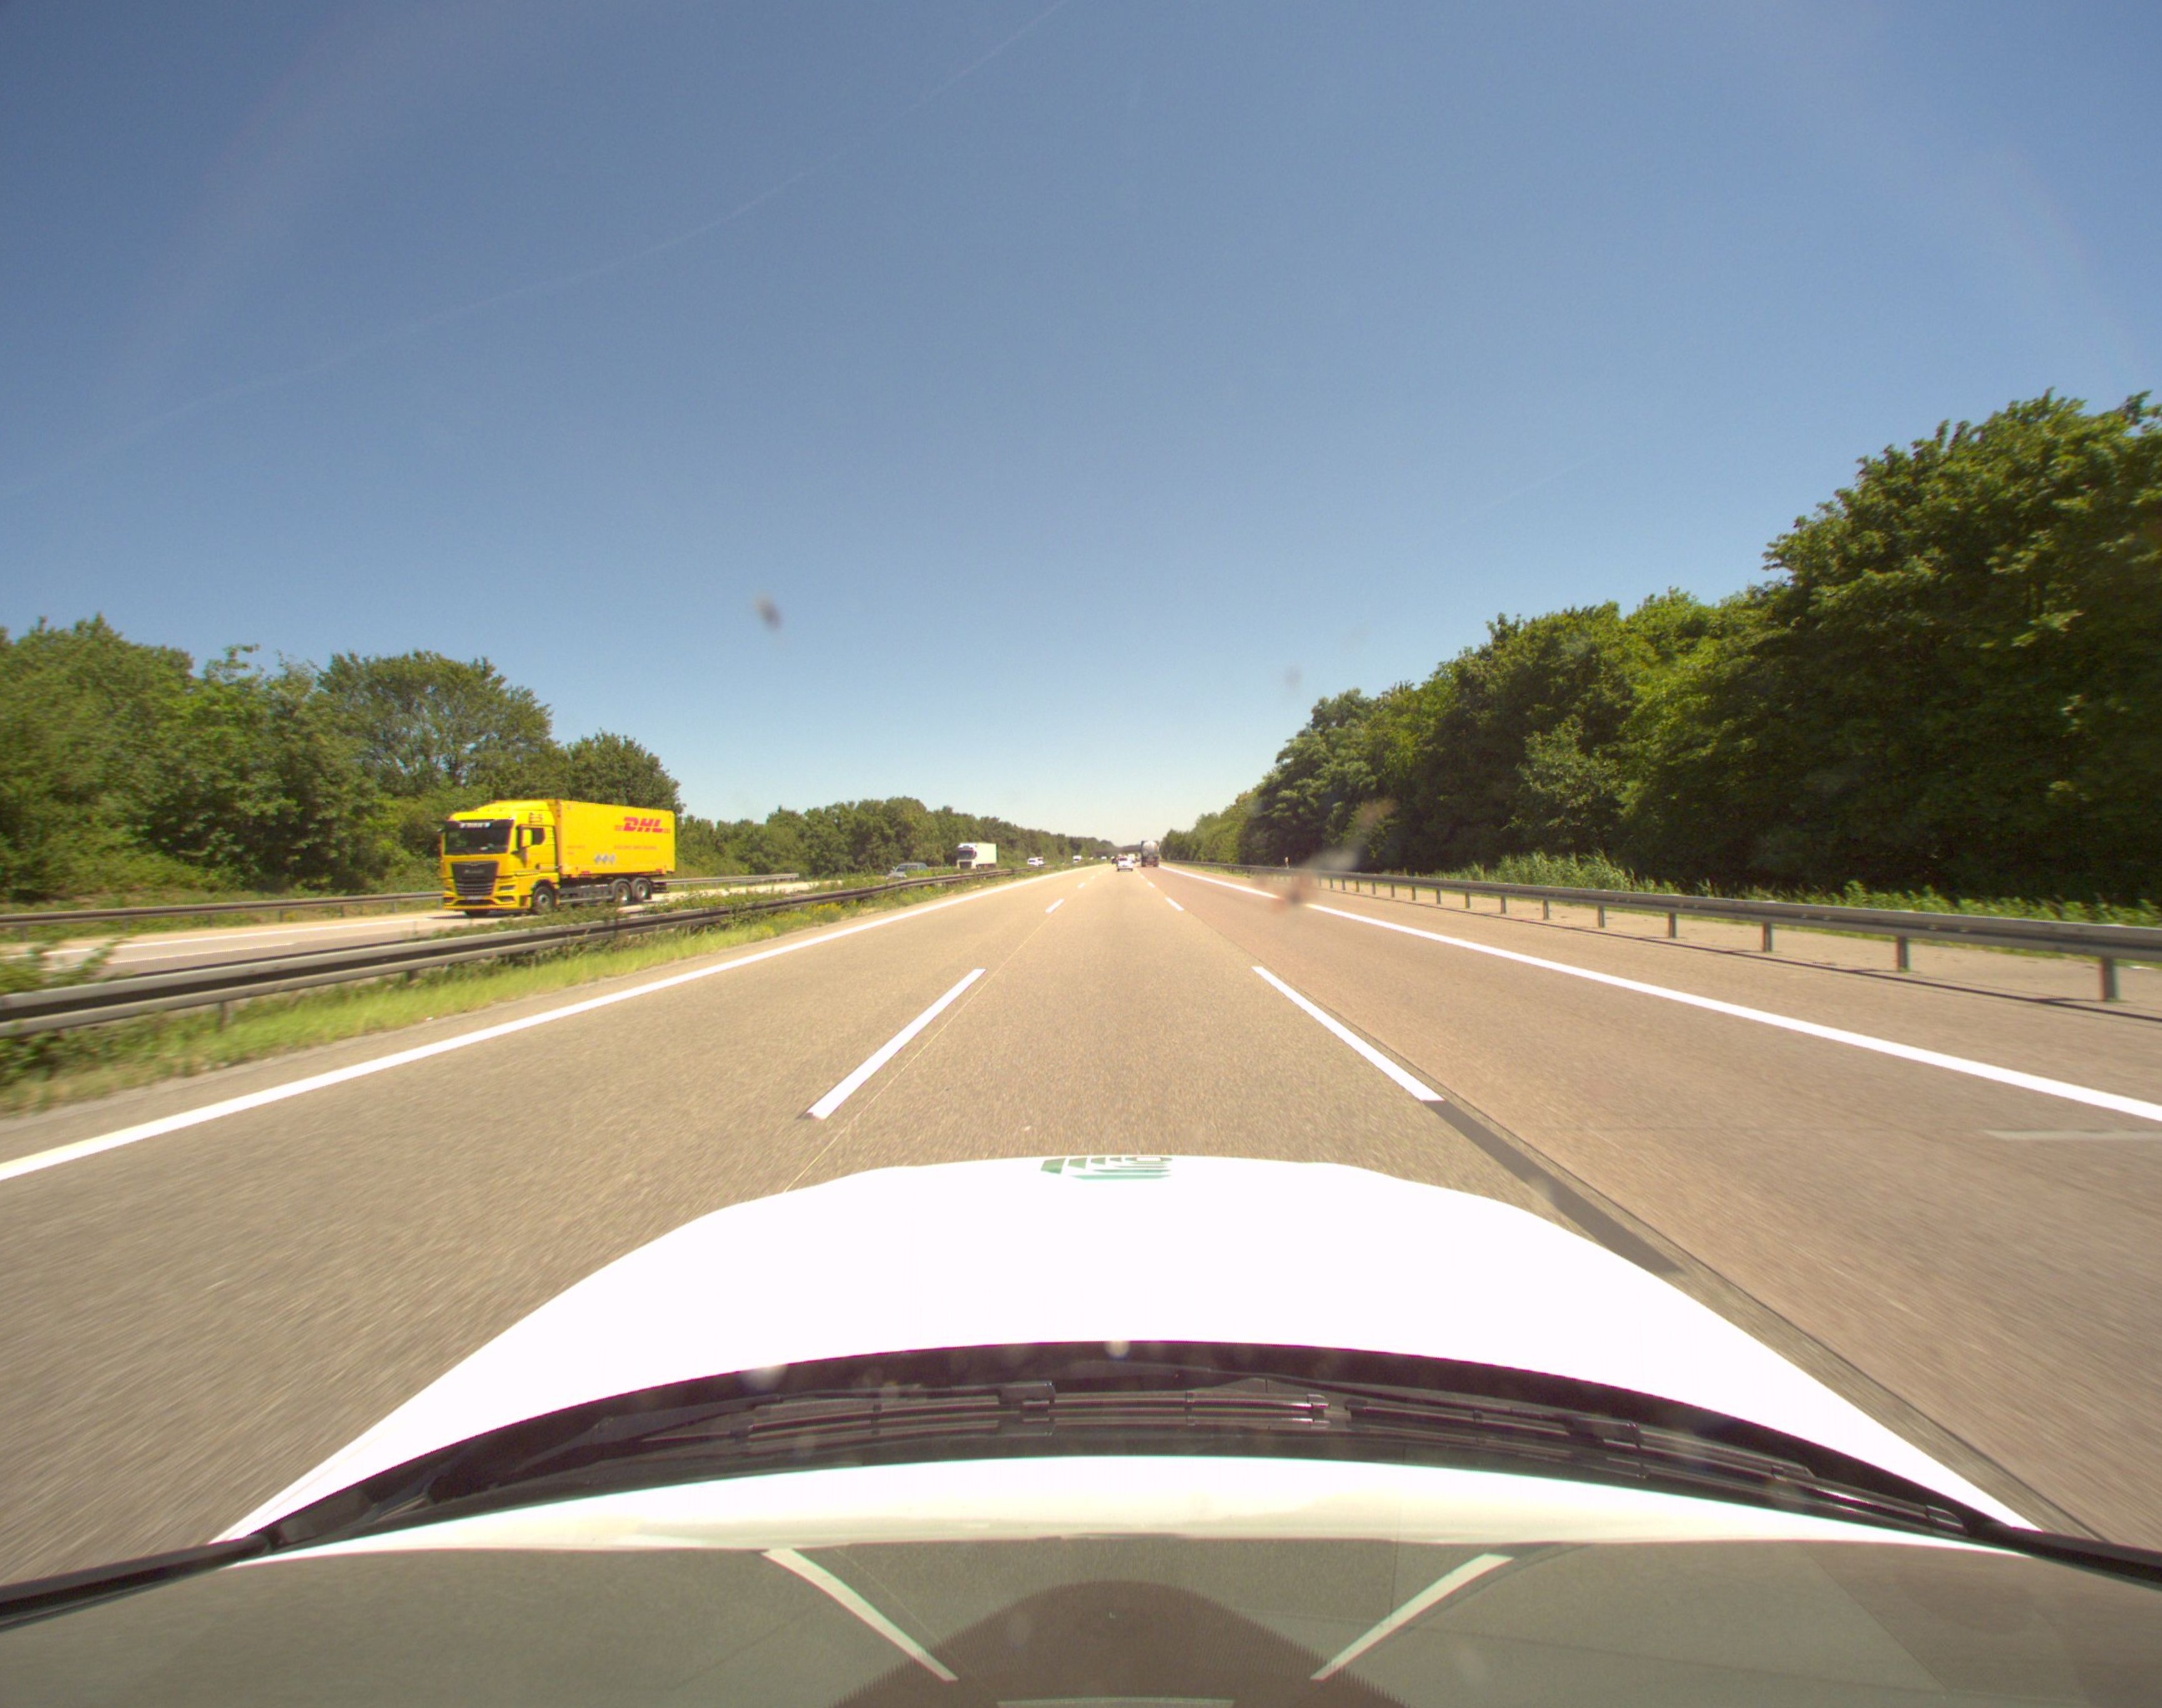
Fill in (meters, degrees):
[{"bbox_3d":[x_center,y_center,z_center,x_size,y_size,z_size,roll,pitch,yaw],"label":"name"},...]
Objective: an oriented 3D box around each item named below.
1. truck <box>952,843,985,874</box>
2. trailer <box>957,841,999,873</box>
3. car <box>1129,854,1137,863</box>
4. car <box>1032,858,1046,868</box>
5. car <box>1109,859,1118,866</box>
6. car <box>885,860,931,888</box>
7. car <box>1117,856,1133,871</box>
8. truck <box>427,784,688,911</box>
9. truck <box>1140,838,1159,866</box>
[{"bbox_3d":[-15.195,0.607,110.483,3.246,3.951,6.106,-1,-1,4],"label":"truck"},{"bbox_3d":[-14.718,0.450,117.618,3.297,4.362,13.601,-1,0,4],"label":"trailer"},{"bbox_3d":[14.105,1.227,219.628,1.984,2.343,4.393,-1,0,5],"label":"car"},{"bbox_3d":[-9.778,2.103,190.114,2.234,2.172,6.548,-1,0,4],"label":"car"},{"bbox_3d":[8.048,1.994,198.717,1.984,1.725,4.792,-1,-1,4],"label":"car"},{"bbox_3d":[-10.380,1.151,49.225,1.775,1.571,3.982,-1,0,2],"label":"car"},{"bbox_3d":[4.729,1.016,88.524,1.621,1.479,4.002,-1,-1,2],"label":"car"},{"bbox_3d":[-19.379,-0.118,31.464,2.739,4.040,10.797,-1,-1,2],"label":"truck"},{"bbox_3d":[10.670,-0.286,126.723,2.727,4.052,10.466,-1,-1,4],"label":"truck"}]
